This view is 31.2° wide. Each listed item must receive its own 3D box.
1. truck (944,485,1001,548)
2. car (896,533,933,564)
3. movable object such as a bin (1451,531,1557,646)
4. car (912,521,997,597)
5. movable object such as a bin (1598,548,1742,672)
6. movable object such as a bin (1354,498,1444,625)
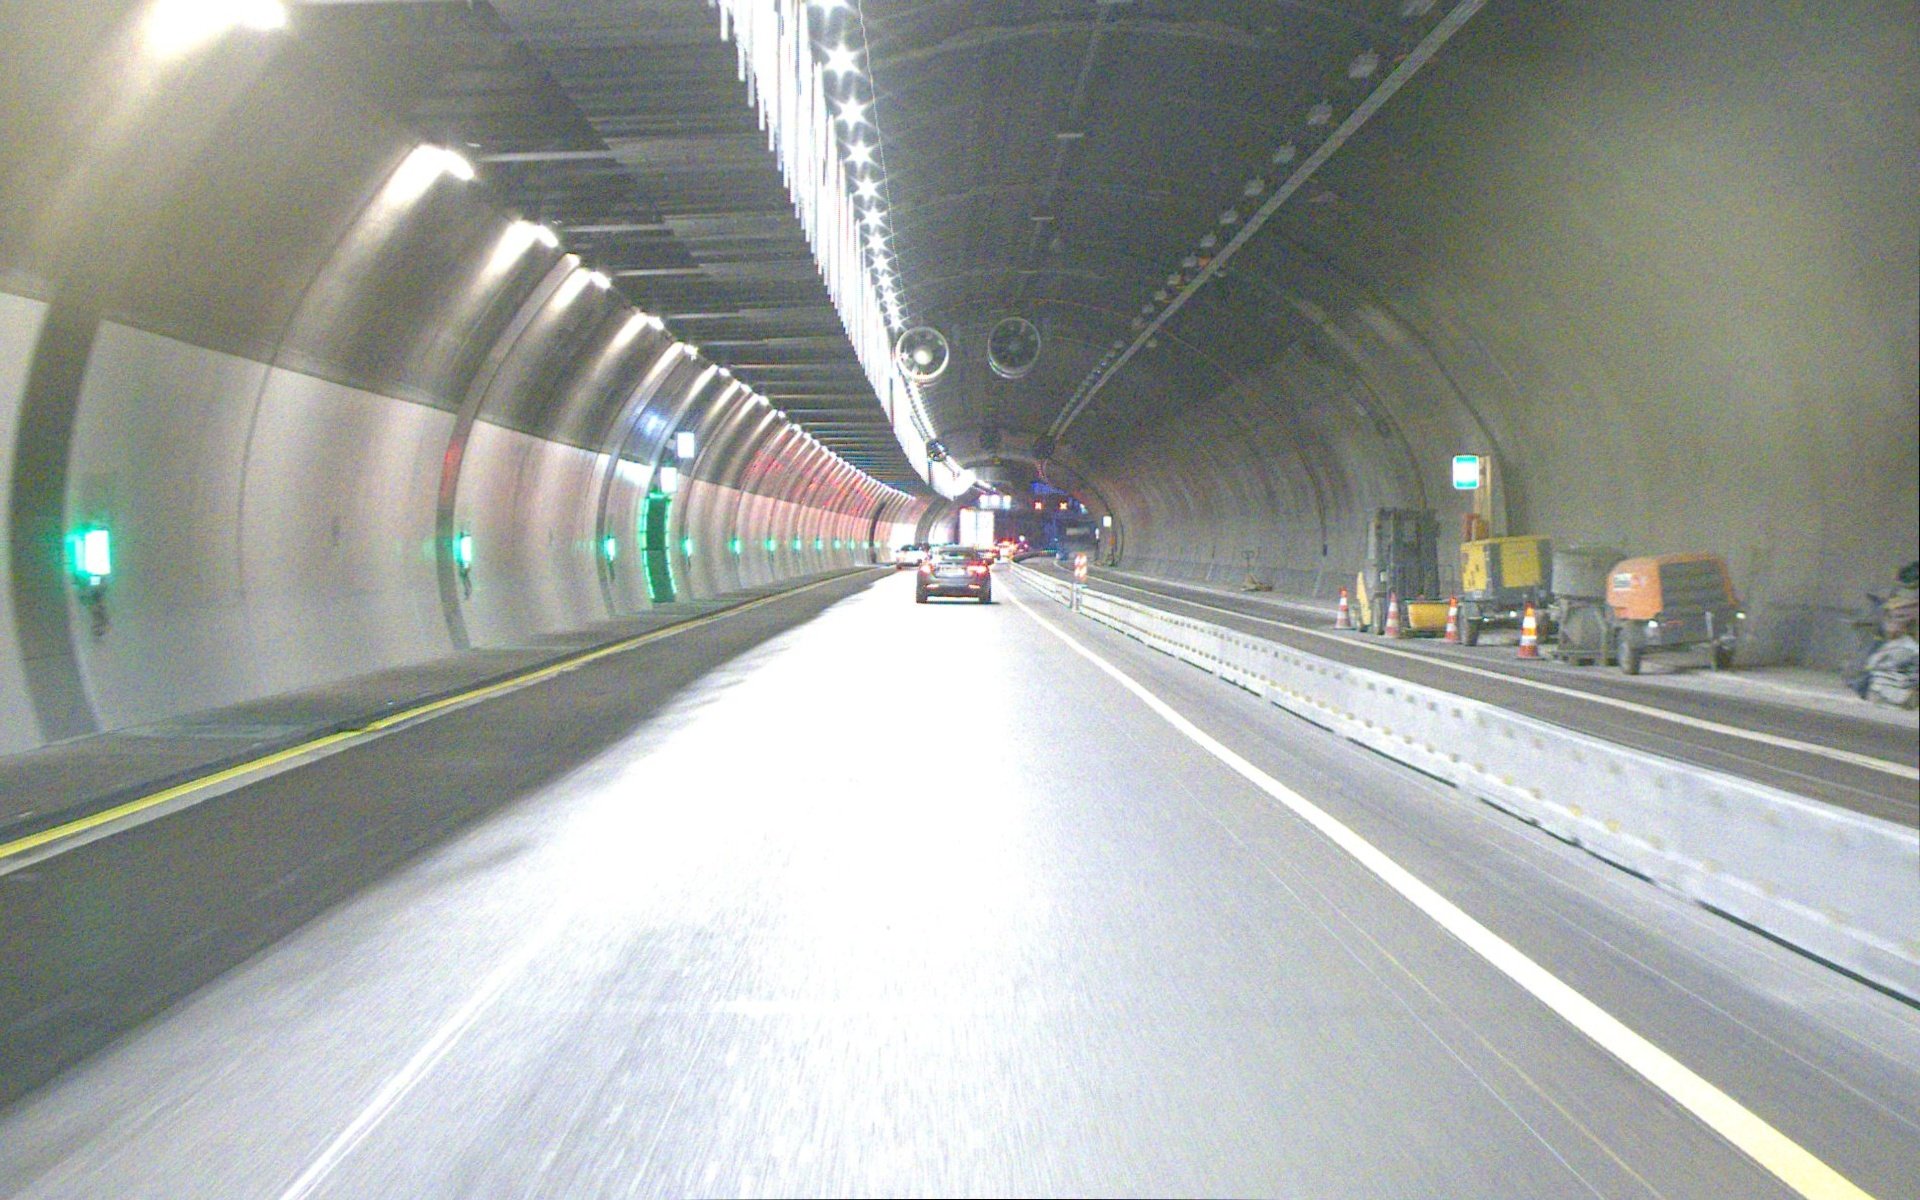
[{"bbox_3d":[0.902,-6.393,263.756,4.066,4.517,14.966,-2,1,0],"label":"truck"},{"bbox_3d":[-2.618,-2.963,197.753,1.930,1.681,4.000,-2,1,1],"label":"car"},{"bbox_3d":[8.310,-0.196,52.617,1.234,1.713,2.217,-1,1,-1],"label":"movable object such as a bin"},{"bbox_3d":[-0.161,-1.045,86.688,1.946,1.788,4.001,-3,1,-2],"label":"car"},{"bbox_3d":[8.502,0.100,41.269,1.234,1.437,2.217,-1,1,-1],"label":"movable object such as a bin"},{"bbox_3d":[7.550,-0.666,59.266,1.234,2.133,2.217,-1,1,-1],"label":"movable object such as a bin"}]
